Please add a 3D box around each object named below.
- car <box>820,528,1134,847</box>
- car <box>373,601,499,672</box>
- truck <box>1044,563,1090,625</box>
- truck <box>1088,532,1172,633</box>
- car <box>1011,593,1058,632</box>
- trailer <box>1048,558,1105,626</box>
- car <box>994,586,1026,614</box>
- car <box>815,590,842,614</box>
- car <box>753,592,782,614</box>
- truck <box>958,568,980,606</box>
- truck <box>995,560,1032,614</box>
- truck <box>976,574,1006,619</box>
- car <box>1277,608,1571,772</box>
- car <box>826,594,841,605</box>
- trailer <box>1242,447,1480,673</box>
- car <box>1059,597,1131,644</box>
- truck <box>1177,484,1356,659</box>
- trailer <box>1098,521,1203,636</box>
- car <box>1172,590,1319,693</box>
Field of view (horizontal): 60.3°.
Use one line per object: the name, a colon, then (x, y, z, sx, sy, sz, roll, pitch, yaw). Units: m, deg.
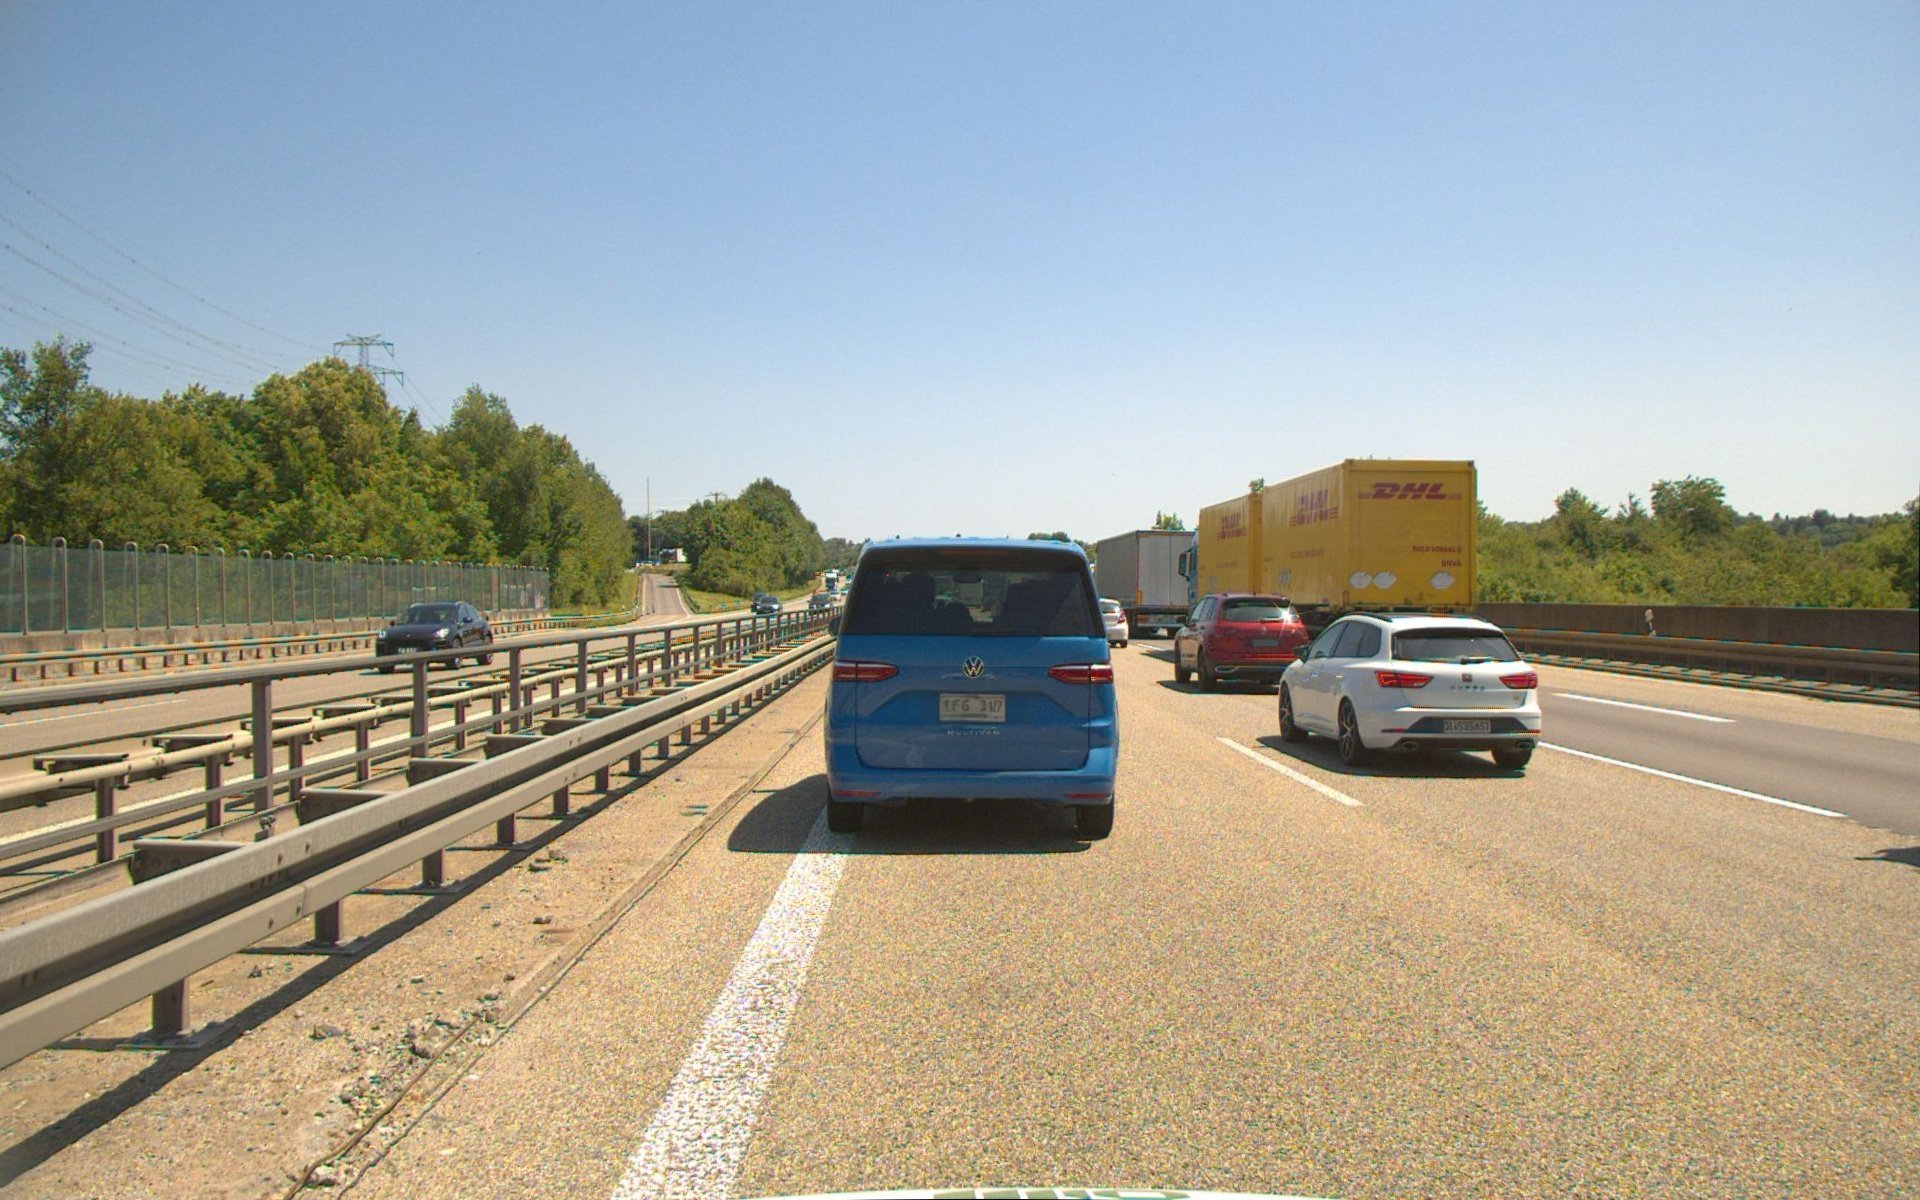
car: (0.077, 0.517, 11.752, 1.844, 1.869, 3.999, 0, 0, -1)
car: (-12.946, 0.866, 41.136, 1.744, 1.596, 4.386, -2, 0, -1)
truck: (6.748, -0.361, 104.632, 2.320, 3.787, 6.031, 1, -1, -1)
truck: (7.390, -0.717, 72.555, 2.712, 4.167, 6.981, 1, -1, -2)
car: (3.240, 0.534, 72.196, 1.681, 1.614, 3.819, -1, 0, -3)
trailer: (6.887, -0.393, 99.033, 2.331, 3.809, 11.184, 1, -1, -1)
car: (2.874, 0.016, 96.356, 1.680, 1.567, 3.820, -1, 0, -1)
car: (-9.969, 0.123, 125.238, 1.719, 1.751, 4.100, -1, 0, -1)
car: (-14.555, 0.266, 125.224, 1.719, 1.574, 3.999, -2, 0, -1)
truck: (1.300, -1.922, 252.848, 2.777, 5.467, 12.549, 1, -1, -2)
truck: (5.290, -1.240, 164.634, 2.777, 5.128, 11.140, 1, -1, -2)
truck: (3.674, -0.369, 197.645, 2.777, 5.128, 11.811, 1, -1, -2)
car: (4.495, 0.807, 16.686, 1.745, 1.411, 4.187, 0, 0, -1)
car: (-18.371, -0.058, 239.847, 1.872, 1.418, 4.164, -2, 0, -1)
trailer: (8.133, -0.702, 34.841, 2.646, 4.094, 8.928, 1, -1, -1)
car: (4.218, 0.620, 52.093, 1.801, 1.438, 3.998, 0, 0, -2)
truck: (7.970, -0.638, 44.484, 2.667, 4.125, 10.333, 1, -1, -1)
trailer: (7.512, -0.743, 66.677, 2.699, 4.219, 11.309, 1, -1, -1)
car: (4.869, 0.653, 28.744, 1.813, 1.636, 4.000, 0, 1, -1)
